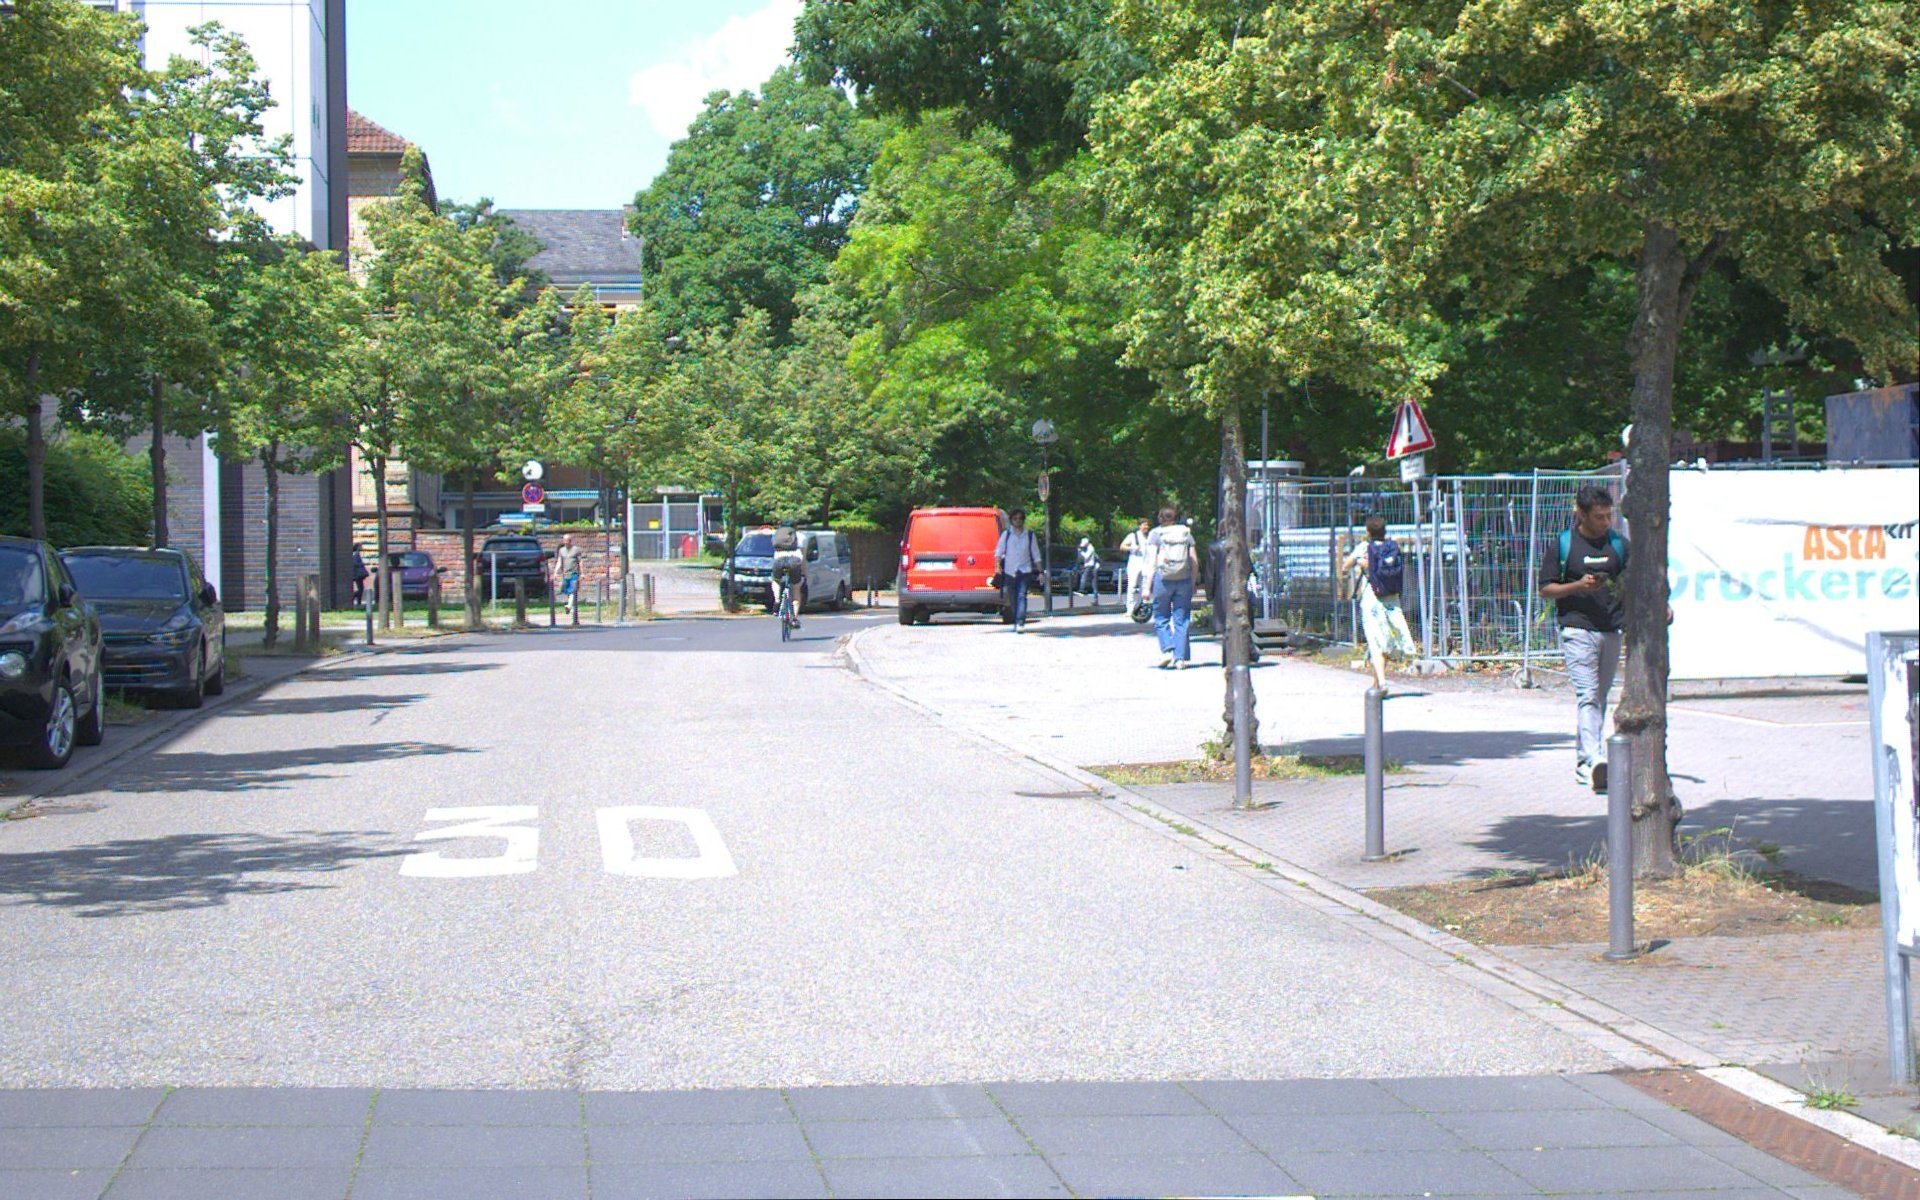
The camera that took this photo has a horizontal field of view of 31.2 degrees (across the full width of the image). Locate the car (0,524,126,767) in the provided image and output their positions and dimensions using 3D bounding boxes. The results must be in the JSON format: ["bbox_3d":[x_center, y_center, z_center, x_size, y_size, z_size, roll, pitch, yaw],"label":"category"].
[{"bbox_3d":[-6.893,0.263,24.023,1.696,1.558,4.069,-1,1,-8],"label":"car"}]

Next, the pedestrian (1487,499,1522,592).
[{"bbox_3d":[10.767,-1.072,68.009,0.543,1.831,0.762,-1,1,0],"label":"pedestrian"}]

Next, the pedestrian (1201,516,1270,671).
[{"bbox_3d":[2.892,-0.073,36.106,0.668,1.594,0.985,-1,1,3],"label":"pedestrian"}]

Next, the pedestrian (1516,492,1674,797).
[{"bbox_3d":[3.608,0.239,19.571,0.641,1.691,0.792,-1,1,-10],"label":"pedestrian"}]

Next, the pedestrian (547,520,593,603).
[{"bbox_3d":[-8.284,-0.816,73.130,0.584,1.758,0.910,0,1,22],"label":"pedestrian"}]

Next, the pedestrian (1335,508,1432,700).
[{"bbox_3d":[3.741,0.028,30.418,0.649,1.660,0.905,-1,1,-5],"label":"pedestrian"}]

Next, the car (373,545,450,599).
[{"bbox_3d":[-13.981,-0.726,87.772,1.817,1.319,3.769,-1,1,-8],"label":"car"}]

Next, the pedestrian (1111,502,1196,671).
[{"bbox_3d":[2.043,-0.145,36.302,0.850,1.758,0.716,-1,1,2],"label":"pedestrian"}]

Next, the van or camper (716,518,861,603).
[{"bbox_3d":[-3.983,-0.941,80.671,1.955,1.916,5.417,1,1,13],"label":"van or camper"}]

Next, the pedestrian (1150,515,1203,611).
[{"bbox_3d":[3.843,-0.658,60.969,0.743,1.704,0.564,-1,1,-42],"label":"pedestrian"}]

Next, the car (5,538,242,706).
[{"bbox_3d":[-7.772,0.159,32.257,1.777,1.456,4.260,1,1,-8],"label":"car"}]

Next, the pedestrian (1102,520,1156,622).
[{"bbox_3d":[3.045,-0.528,61.827,0.721,1.815,0.629,-1,1,-42],"label":"pedestrian"}]

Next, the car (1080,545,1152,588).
[{"bbox_3d":[5.180,-1.130,113.732,1.617,1.383,3.998,0,1,14],"label":"car"}]

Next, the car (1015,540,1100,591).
[{"bbox_3d":[3.047,-1.086,106.402,1.761,1.516,4.109,0,1,14],"label":"car"}]

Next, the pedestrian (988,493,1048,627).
[{"bbox_3d":[0.787,-0.542,46.217,0.695,1.775,0.787,-1,1,7],"label":"pedestrian"}]

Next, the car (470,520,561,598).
[{"bbox_3d":[-11.431,-1.067,88.151,2.174,1.919,5.187,-1,1,-9],"label":"car"}]

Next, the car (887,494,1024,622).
[{"bbox_3d":[-0.020,-0.672,54.117,1.848,1.885,4.890,-1,1,3],"label":"car"}]
